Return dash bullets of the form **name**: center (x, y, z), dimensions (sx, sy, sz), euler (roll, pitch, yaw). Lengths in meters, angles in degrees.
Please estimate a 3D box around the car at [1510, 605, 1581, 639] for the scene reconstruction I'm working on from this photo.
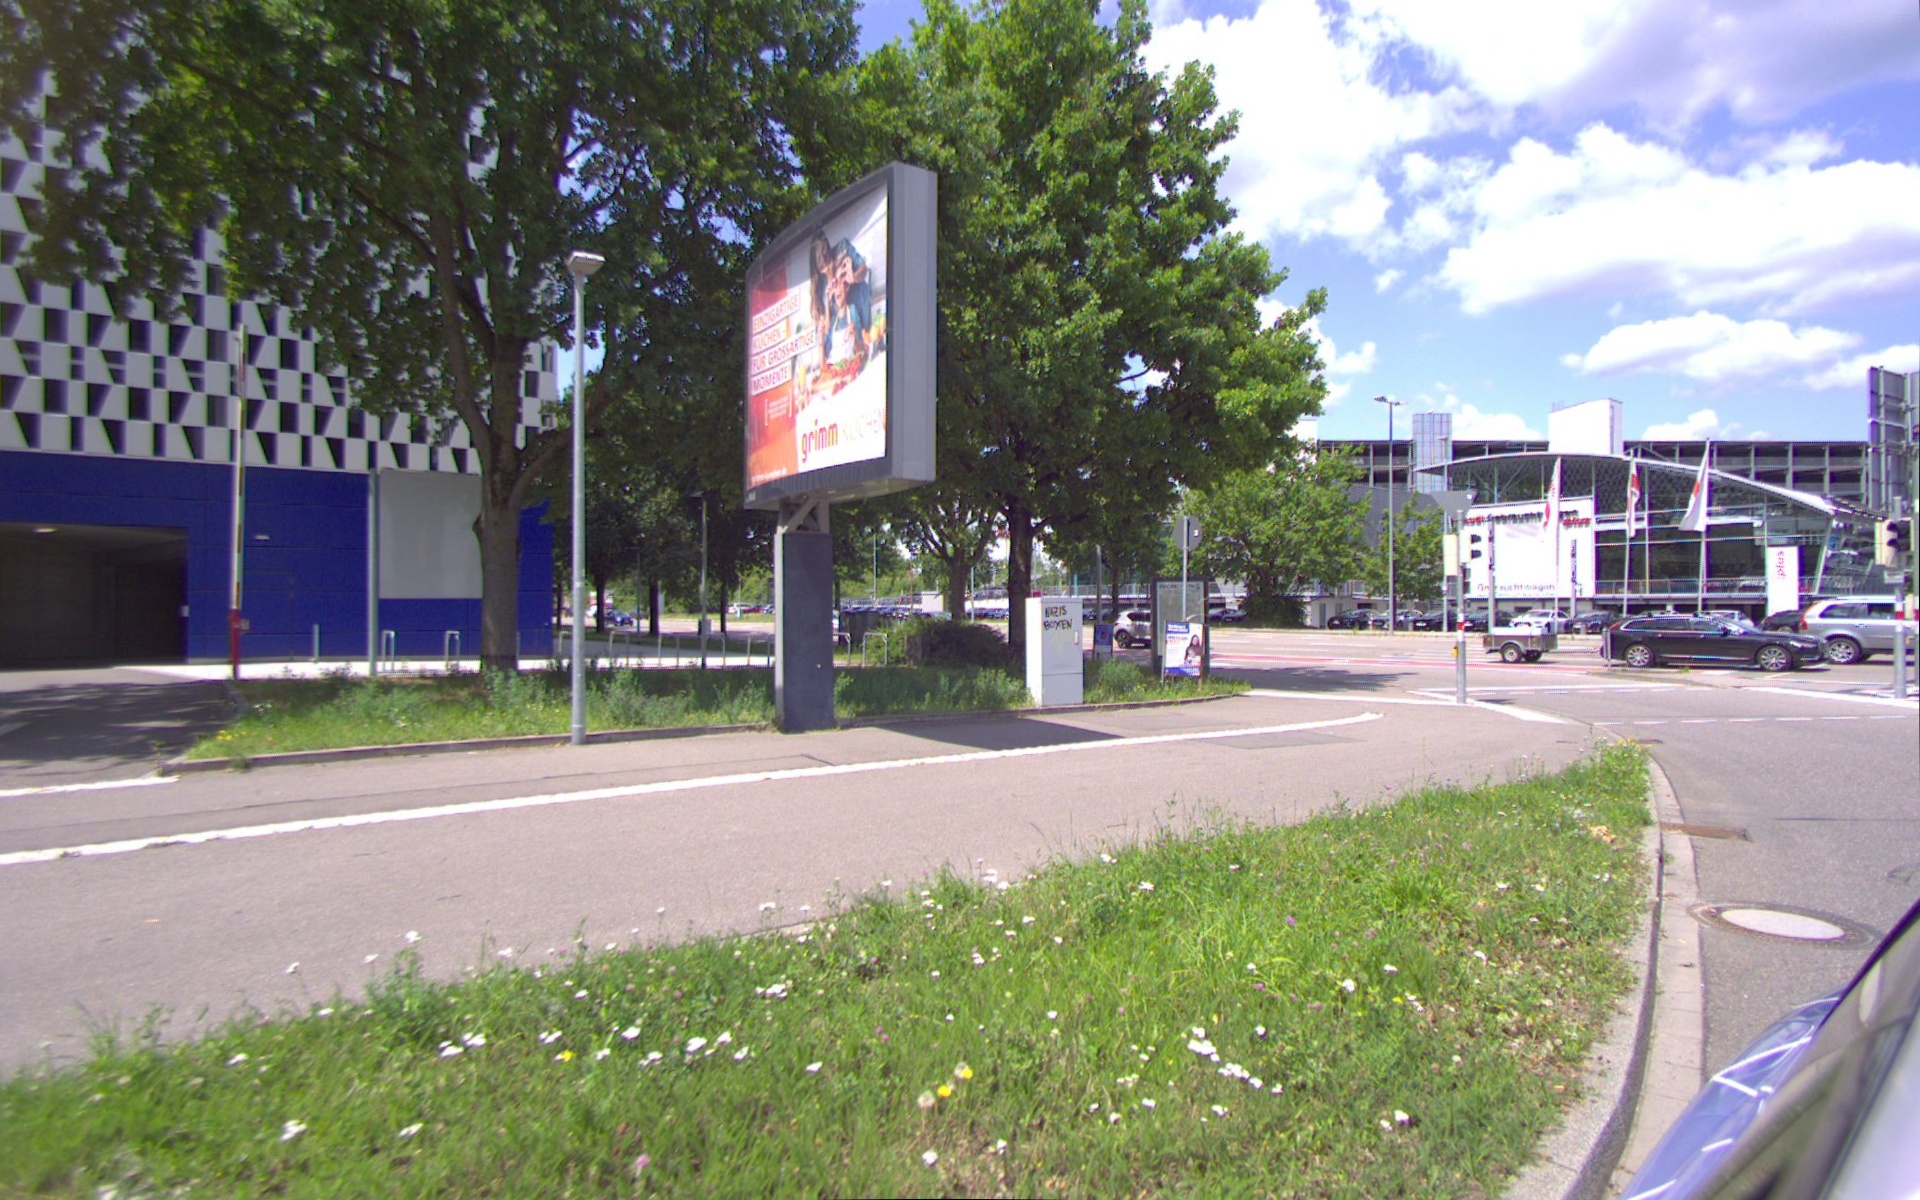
- **car**: center (31.148, 1.137, 53.804), dimensions (3.688, 1.750, 1.863), euler (1, -1, -35)

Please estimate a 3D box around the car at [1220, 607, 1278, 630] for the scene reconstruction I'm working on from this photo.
- **car**: center (19.970, 1.290, 69.907), dimensions (3.923, 1.572, 1.798), euler (1, -1, -35)

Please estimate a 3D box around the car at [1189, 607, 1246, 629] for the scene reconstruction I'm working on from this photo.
- **car**: center (18.376, 1.283, 72.135), dimensions (3.923, 1.572, 1.798), euler (1, -1, -35)

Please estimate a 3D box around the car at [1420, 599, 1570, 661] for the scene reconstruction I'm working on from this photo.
- **car**: center (16.525, 0.902, 31.389), dimensions (1.643, 1.750, 3.757), euler (-2, 0, -37)

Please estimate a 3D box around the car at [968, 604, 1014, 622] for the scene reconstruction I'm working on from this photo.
- **car**: center (2.808, 1.206, 92.376), dimensions (3.923, 1.572, 1.798), euler (1, -1, -35)

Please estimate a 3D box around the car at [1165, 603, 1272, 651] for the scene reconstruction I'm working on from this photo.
- **car**: center (10.151, 1.032, 39.919), dimensions (1.829, 1.750, 3.757), euler (-2, 0, -37)

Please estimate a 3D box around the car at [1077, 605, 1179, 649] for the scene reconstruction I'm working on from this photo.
- **car**: center (7.212, 1.159, 43.793), dimensions (1.829, 1.750, 4.188), euler (-2, 0, -37)

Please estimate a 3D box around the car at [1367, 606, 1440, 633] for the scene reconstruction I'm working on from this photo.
- **car**: center (26.336, 1.158, 60.081), dimensions (3.917, 1.572, 1.800), euler (1, -1, -25)

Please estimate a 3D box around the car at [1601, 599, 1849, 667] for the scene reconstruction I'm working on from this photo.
- **car**: center (19.938, 0.846, 26.598), dimensions (1.963, 1.600, 4.818), euler (0, -1, -37)

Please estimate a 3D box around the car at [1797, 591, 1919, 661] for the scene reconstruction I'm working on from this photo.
- **car**: center (24.811, 0.650, 26.024), dimensions (1.829, 1.750, 4.752), euler (0, -1, -37)

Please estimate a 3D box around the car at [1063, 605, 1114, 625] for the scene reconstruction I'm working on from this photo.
- **car**: center (10.476, 1.244, 82.367), dimensions (3.923, 1.572, 1.798), euler (1, -1, -35)

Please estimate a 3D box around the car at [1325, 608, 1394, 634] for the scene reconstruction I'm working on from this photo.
- **car**: center (24.663, 1.303, 62.457), dimensions (3.917, 1.572, 1.800), euler (1, -1, -25)

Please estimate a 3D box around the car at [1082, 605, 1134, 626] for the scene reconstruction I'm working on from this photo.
- **car**: center (11.747, 1.247, 80.288), dimensions (3.923, 1.572, 1.798), euler (1, -1, -35)

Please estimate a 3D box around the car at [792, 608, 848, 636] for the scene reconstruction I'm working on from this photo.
- **car**: center (-9.077, 1.404, 65.324), dimensions (1.824, 1.713, 3.996), euler (1, -1, -39)
